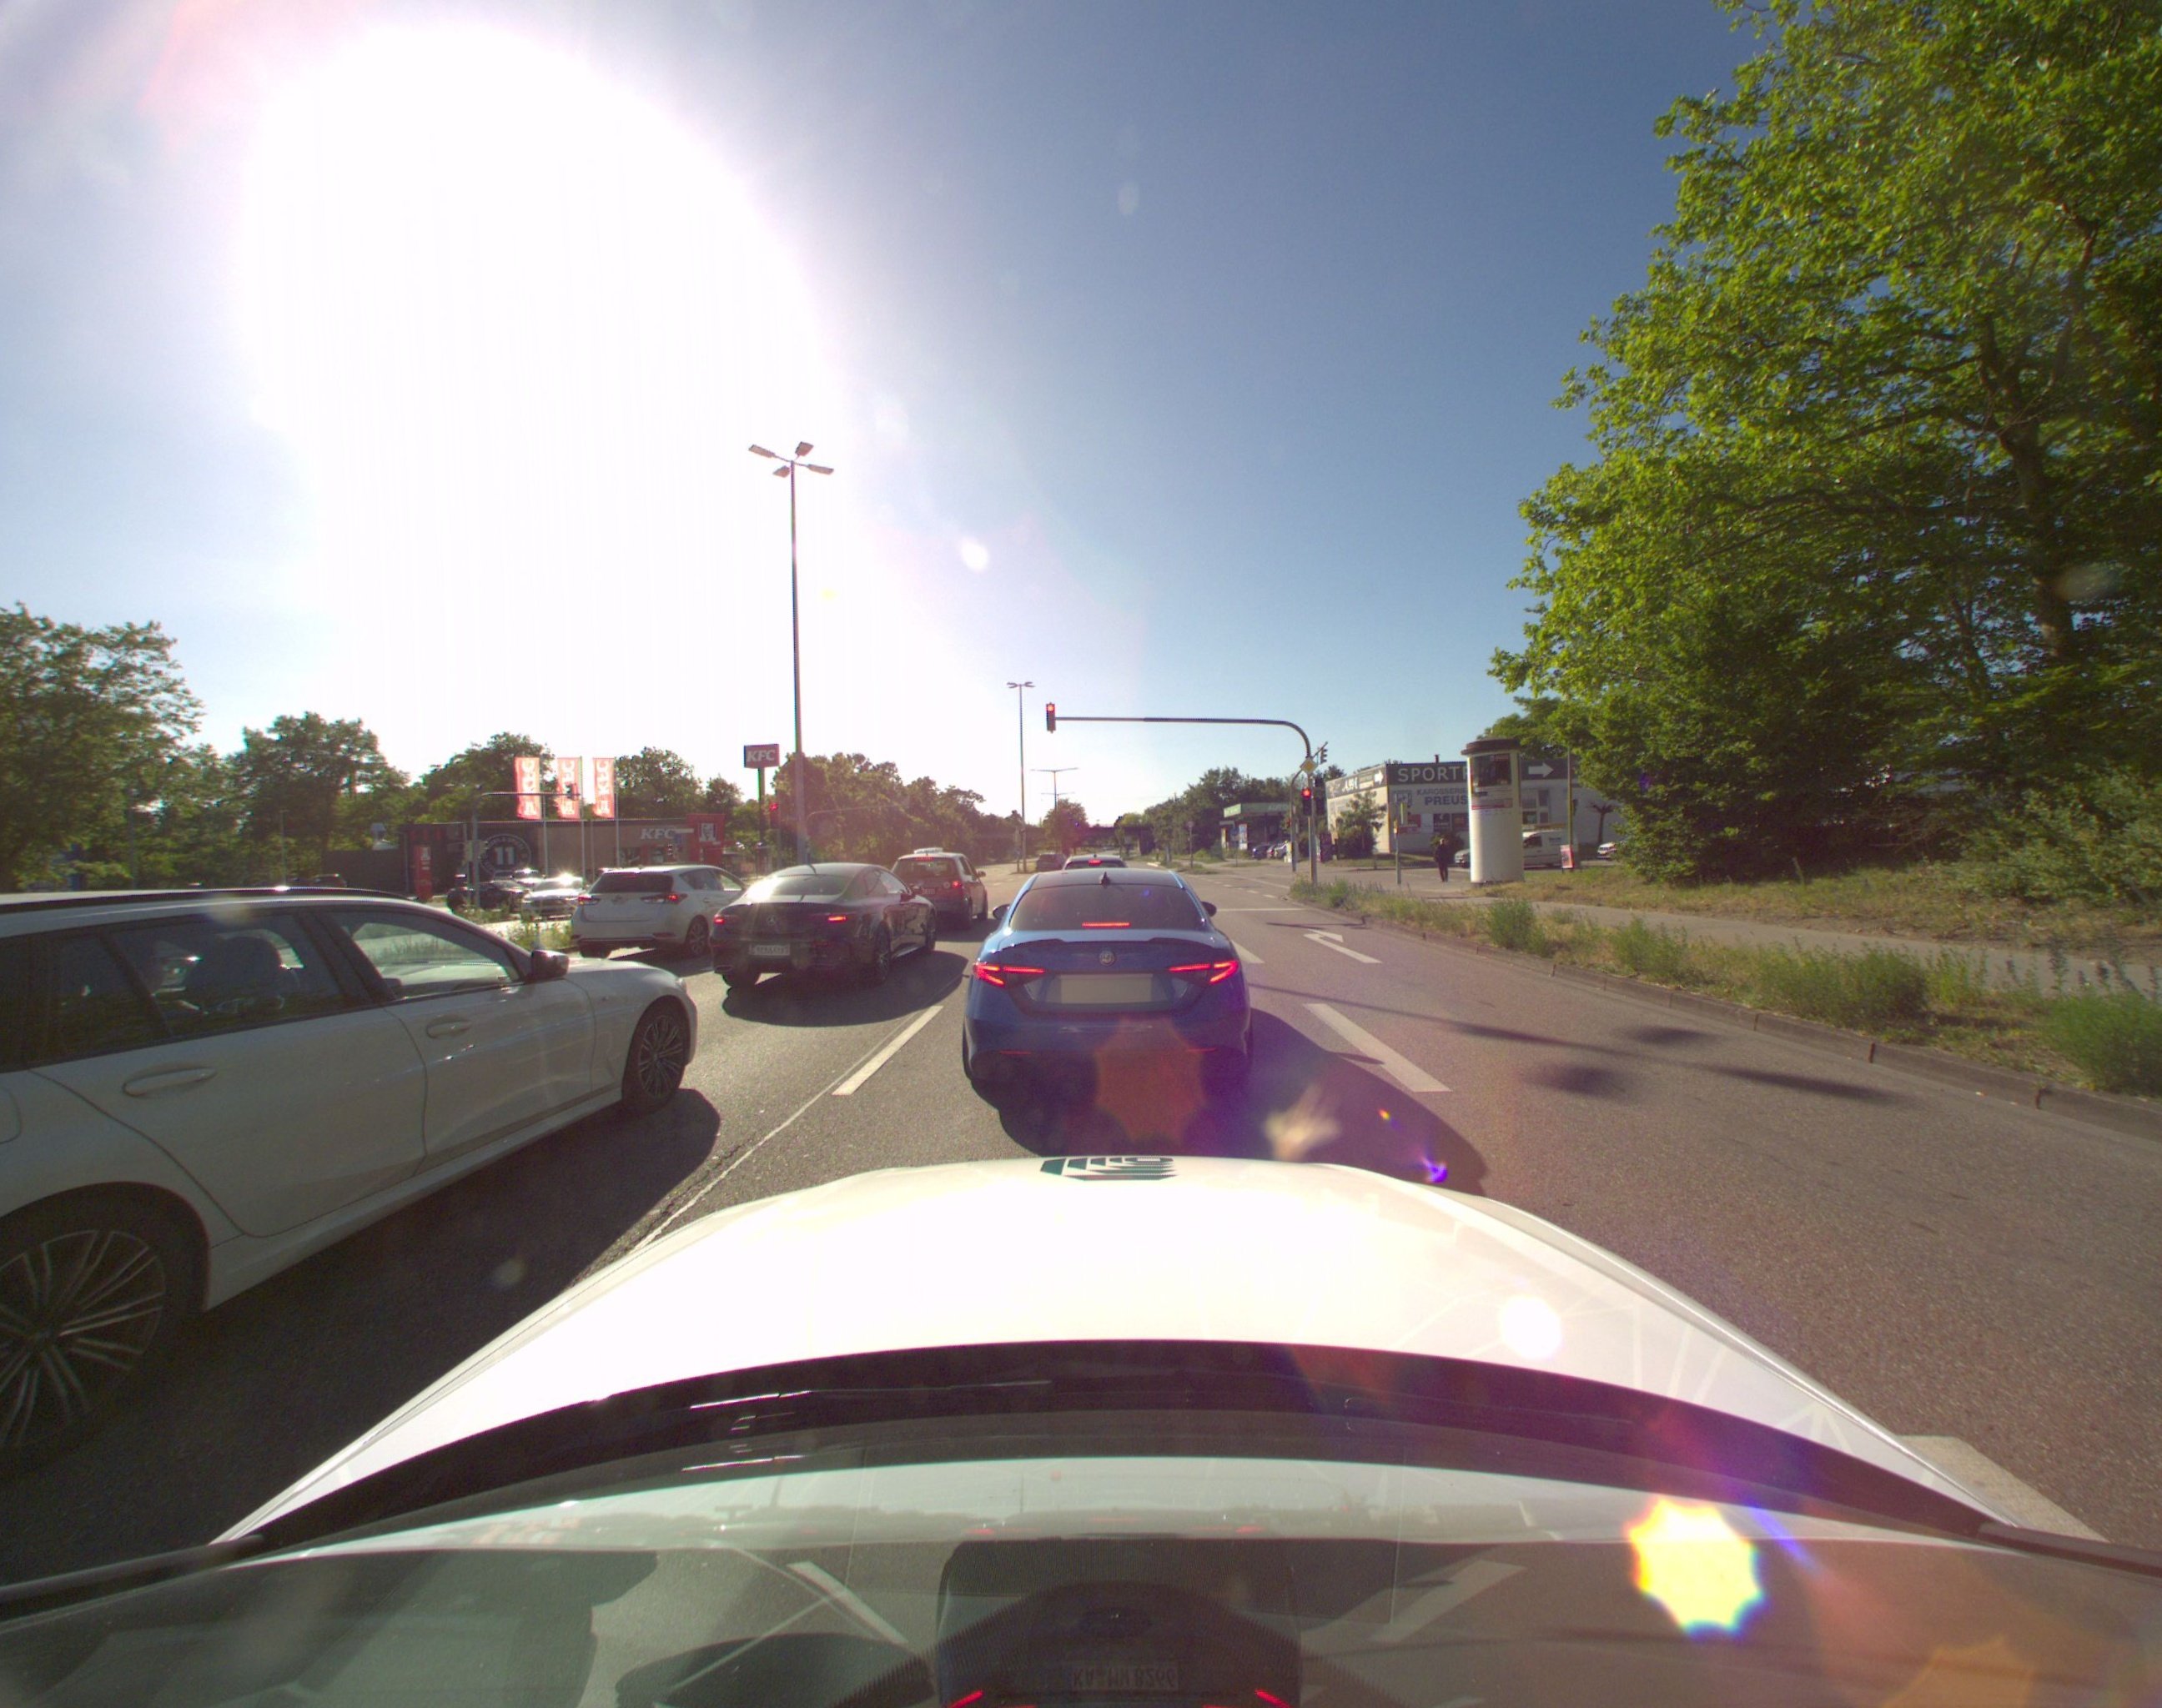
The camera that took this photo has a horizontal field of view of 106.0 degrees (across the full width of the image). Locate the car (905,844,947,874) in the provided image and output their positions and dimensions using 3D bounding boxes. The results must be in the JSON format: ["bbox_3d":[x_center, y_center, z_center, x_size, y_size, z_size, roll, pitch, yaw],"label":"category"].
[{"bbox_3d":[-13.668,0.412,72.227,2.422,2.427,5.833,-1,0,2],"label":"car"}]

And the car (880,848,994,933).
[{"bbox_3d":[-2.994,0.694,17.714,1.642,1.598,3.933,-1,0,2],"label":"car"}]

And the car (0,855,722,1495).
[{"bbox_3d":[-3.432,0.793,3.363,1.762,1.509,4.463,-1,0,2],"label":"car"}]

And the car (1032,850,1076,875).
[{"bbox_3d":[-1.876,0.579,58.002,1.804,1.595,4.070,-1,0,18],"label":"car"}]

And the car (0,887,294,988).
[{"bbox_3d":[-17.884,1.488,15.346,1.808,1.429,4.060,-3,0,9],"label":"car"}]

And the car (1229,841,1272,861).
[{"bbox_3d":[15.390,-0.261,73.969,3.489,1.706,1.687,-1,0,-14],"label":"car"}]

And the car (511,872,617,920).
[{"bbox_3d":[-18.318,1.437,29.128,1.861,1.429,4.711,-2,0,-15],"label":"car"}]

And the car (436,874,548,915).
[{"bbox_3d":[-27.338,1.862,37.856,3.967,1.728,1.761,-1,0,5],"label":"car"}]

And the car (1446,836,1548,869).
[{"bbox_3d":[21.955,-0.087,43.064,4.393,1.553,1.999,-1,0,-2],"label":"car"}]

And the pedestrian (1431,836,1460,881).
[{"bbox_3d":[14.207,0.176,31.743,0.818,1.721,0.856,-2,0,9],"label":"pedestrian"}]

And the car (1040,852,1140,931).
[{"bbox_3d":[0.231,0.697,17.199,1.859,1.450,3.933,-1,0,2],"label":"car"}]

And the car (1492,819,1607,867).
[{"bbox_3d":[22.633,-0.527,39.465,4.393,2.145,1.999,-1,0,-2],"label":"car"}]

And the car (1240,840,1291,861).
[{"bbox_3d":[16.047,-0.297,70.760,3.997,1.706,1.685,-1,0,-18],"label":"car"}]

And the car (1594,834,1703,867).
[{"bbox_3d":[29.768,-0.190,42.792,4.393,1.553,1.999,-1,0,-2],"label":"car"}]

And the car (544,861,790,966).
[{"bbox_3d":[-6.809,0.891,14.043,1.850,1.429,4.405,-1,0,2],"label":"car"}]

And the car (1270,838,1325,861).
[{"bbox_3d":[17.516,-0.366,65.866,3.993,1.706,1.687,-2,0,-15],"label":"car"}]

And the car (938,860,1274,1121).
[{"bbox_3d":[0.200,0.783,6.532,1.859,1.385,3.933,-1,0,2],"label":"car"}]

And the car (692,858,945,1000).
[{"bbox_3d":[-3.144,0.809,10.836,1.762,1.414,4.463,-1,0,2],"label":"car"}]
